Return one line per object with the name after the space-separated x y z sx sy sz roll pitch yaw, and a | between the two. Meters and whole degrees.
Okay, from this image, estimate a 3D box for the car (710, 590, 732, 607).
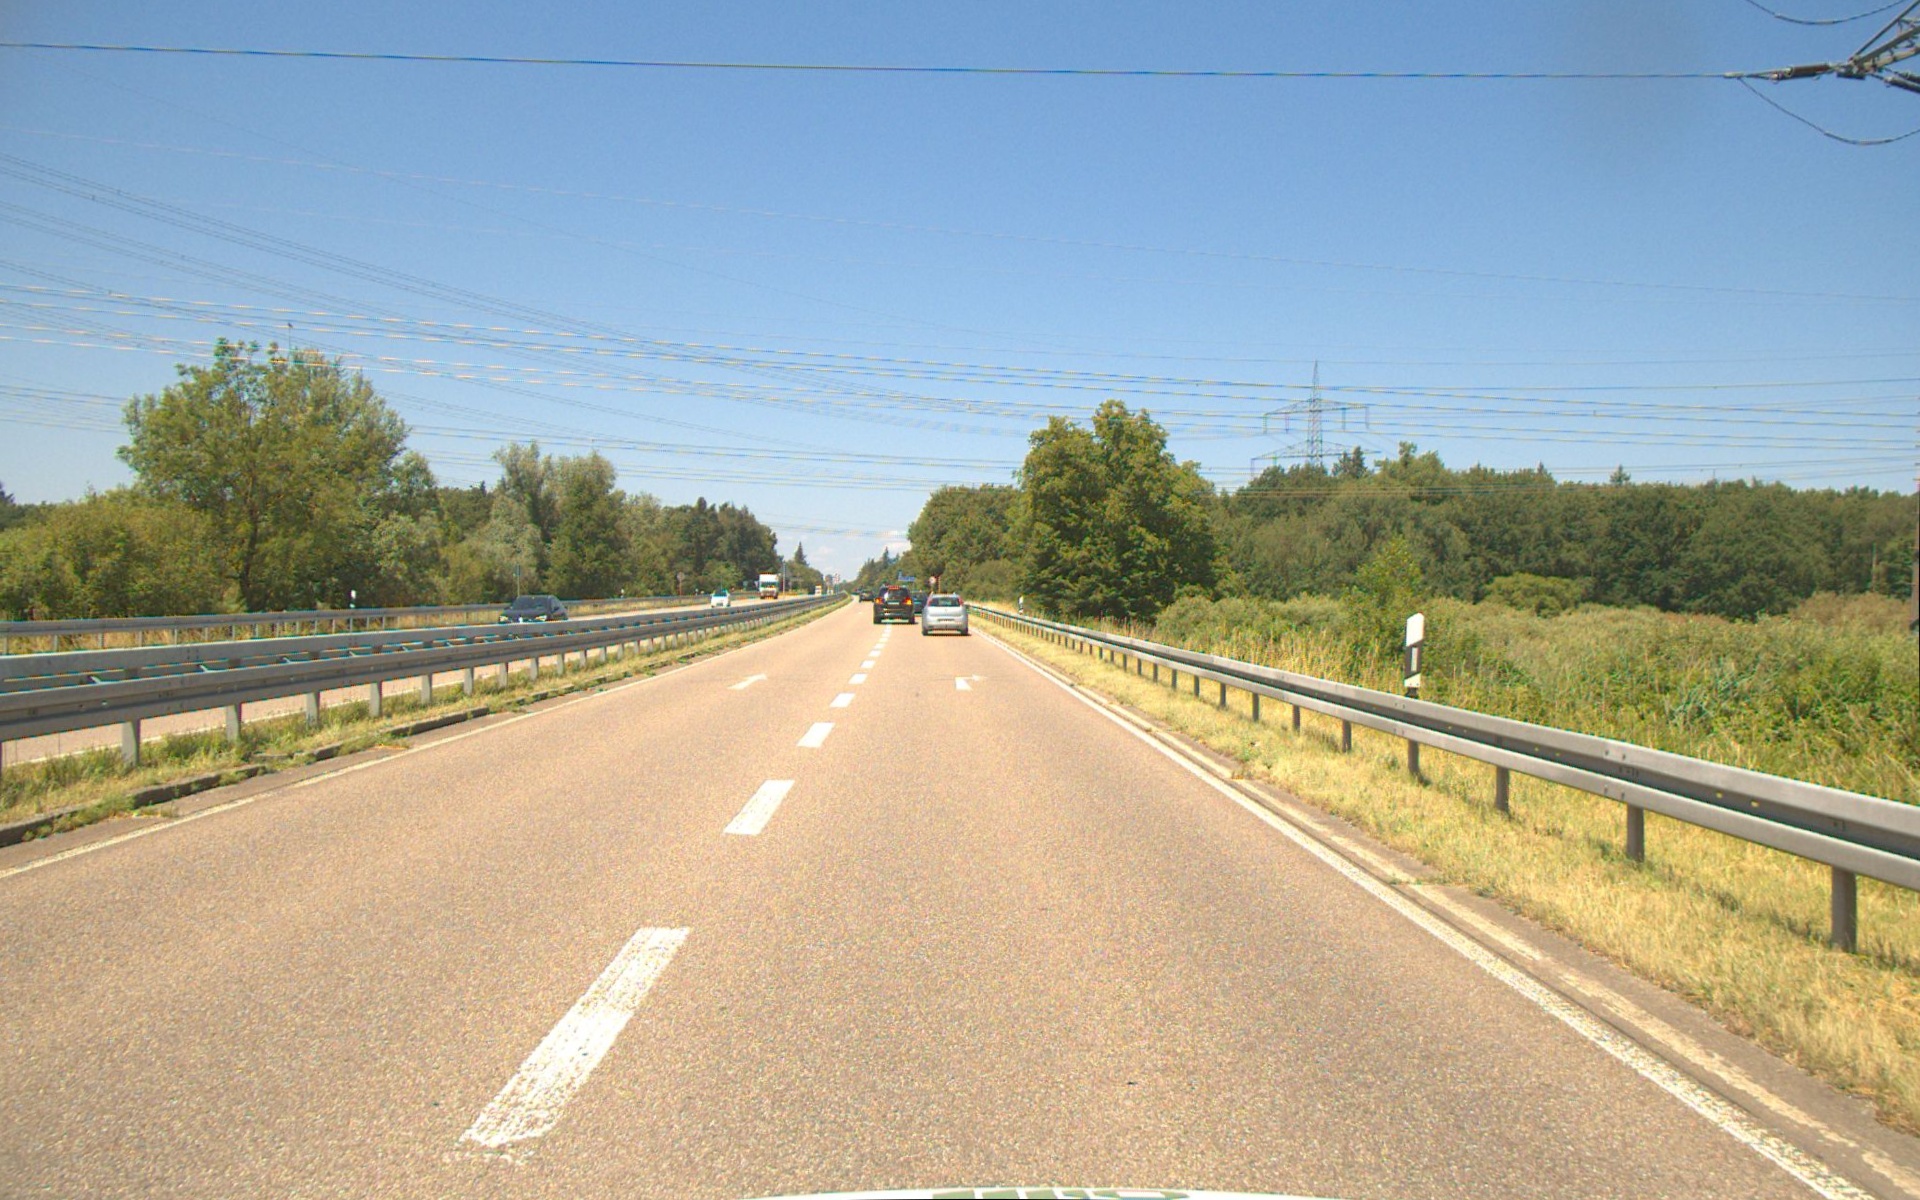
-20.771 -0.156 144.036 1.502 1.475 3.700 0 1 -2 | car

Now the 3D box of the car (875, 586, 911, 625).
-3.163 0.244 77.858 1.607 1.682 3.572 2 0 -2 | car

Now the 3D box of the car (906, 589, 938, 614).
-2.228 0.088 97.371 1.606 1.366 3.575 2 0 2 | car

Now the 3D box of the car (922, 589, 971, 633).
-0.517 0.377 60.231 1.607 1.493 3.418 2 0 -2 | car

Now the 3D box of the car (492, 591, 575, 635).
-14.749 0.429 57.478 1.807 1.437 4.679 0 0 -2 | car

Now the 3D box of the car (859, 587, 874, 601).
-10.997 -0.724 194.269 1.678 1.497 3.571 2 0 -4 | car

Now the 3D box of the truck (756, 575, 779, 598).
-26.766 -1.882 230.039 2.664 3.249 8.401 0 0 -3 | truck
